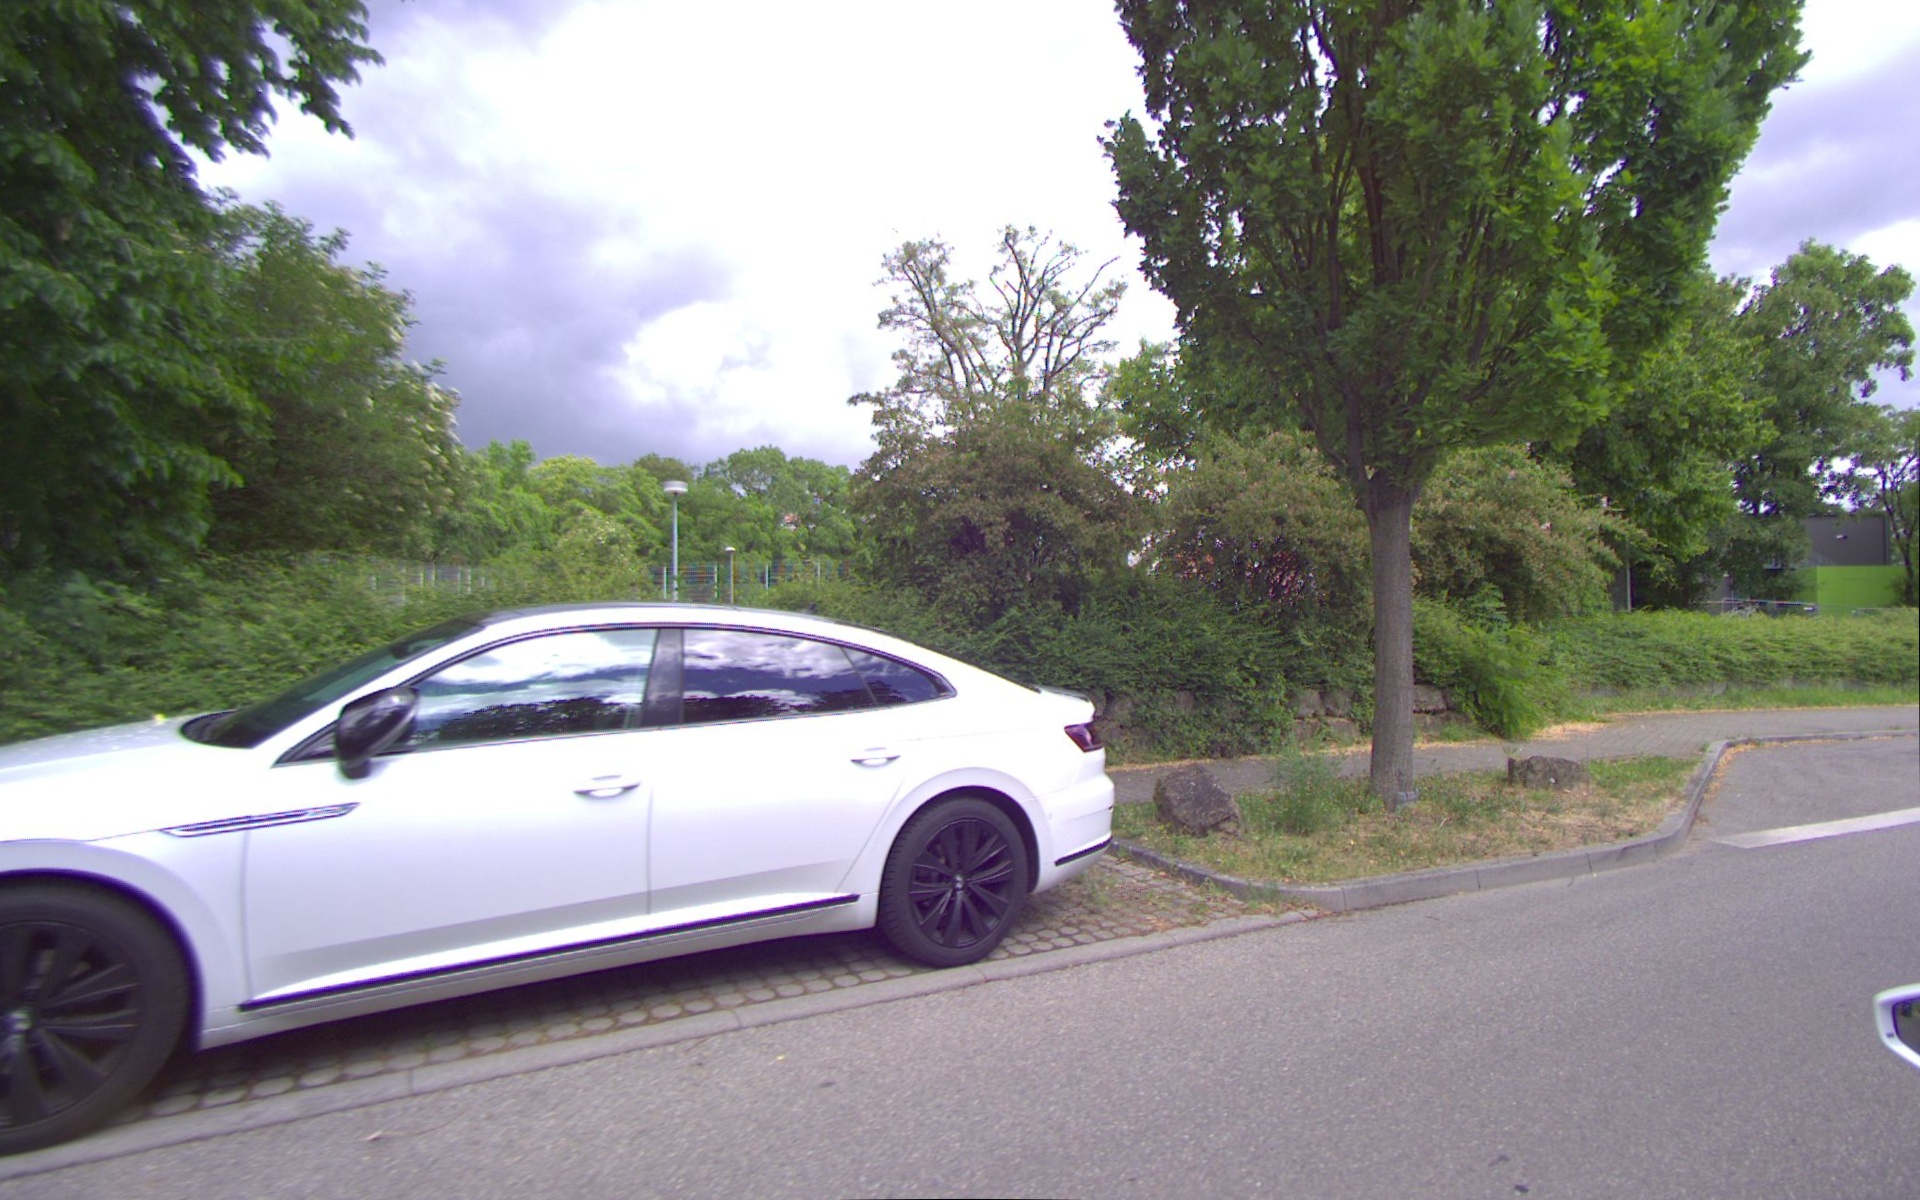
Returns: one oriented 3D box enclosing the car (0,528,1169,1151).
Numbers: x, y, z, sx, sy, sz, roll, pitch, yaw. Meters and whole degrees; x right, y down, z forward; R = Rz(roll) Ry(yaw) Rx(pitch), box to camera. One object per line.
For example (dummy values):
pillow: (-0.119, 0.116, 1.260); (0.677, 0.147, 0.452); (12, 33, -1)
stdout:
car: (-1.494, 0.624, 4.045); (4.584, 1.511, 1.838); (1, -1, -32)
